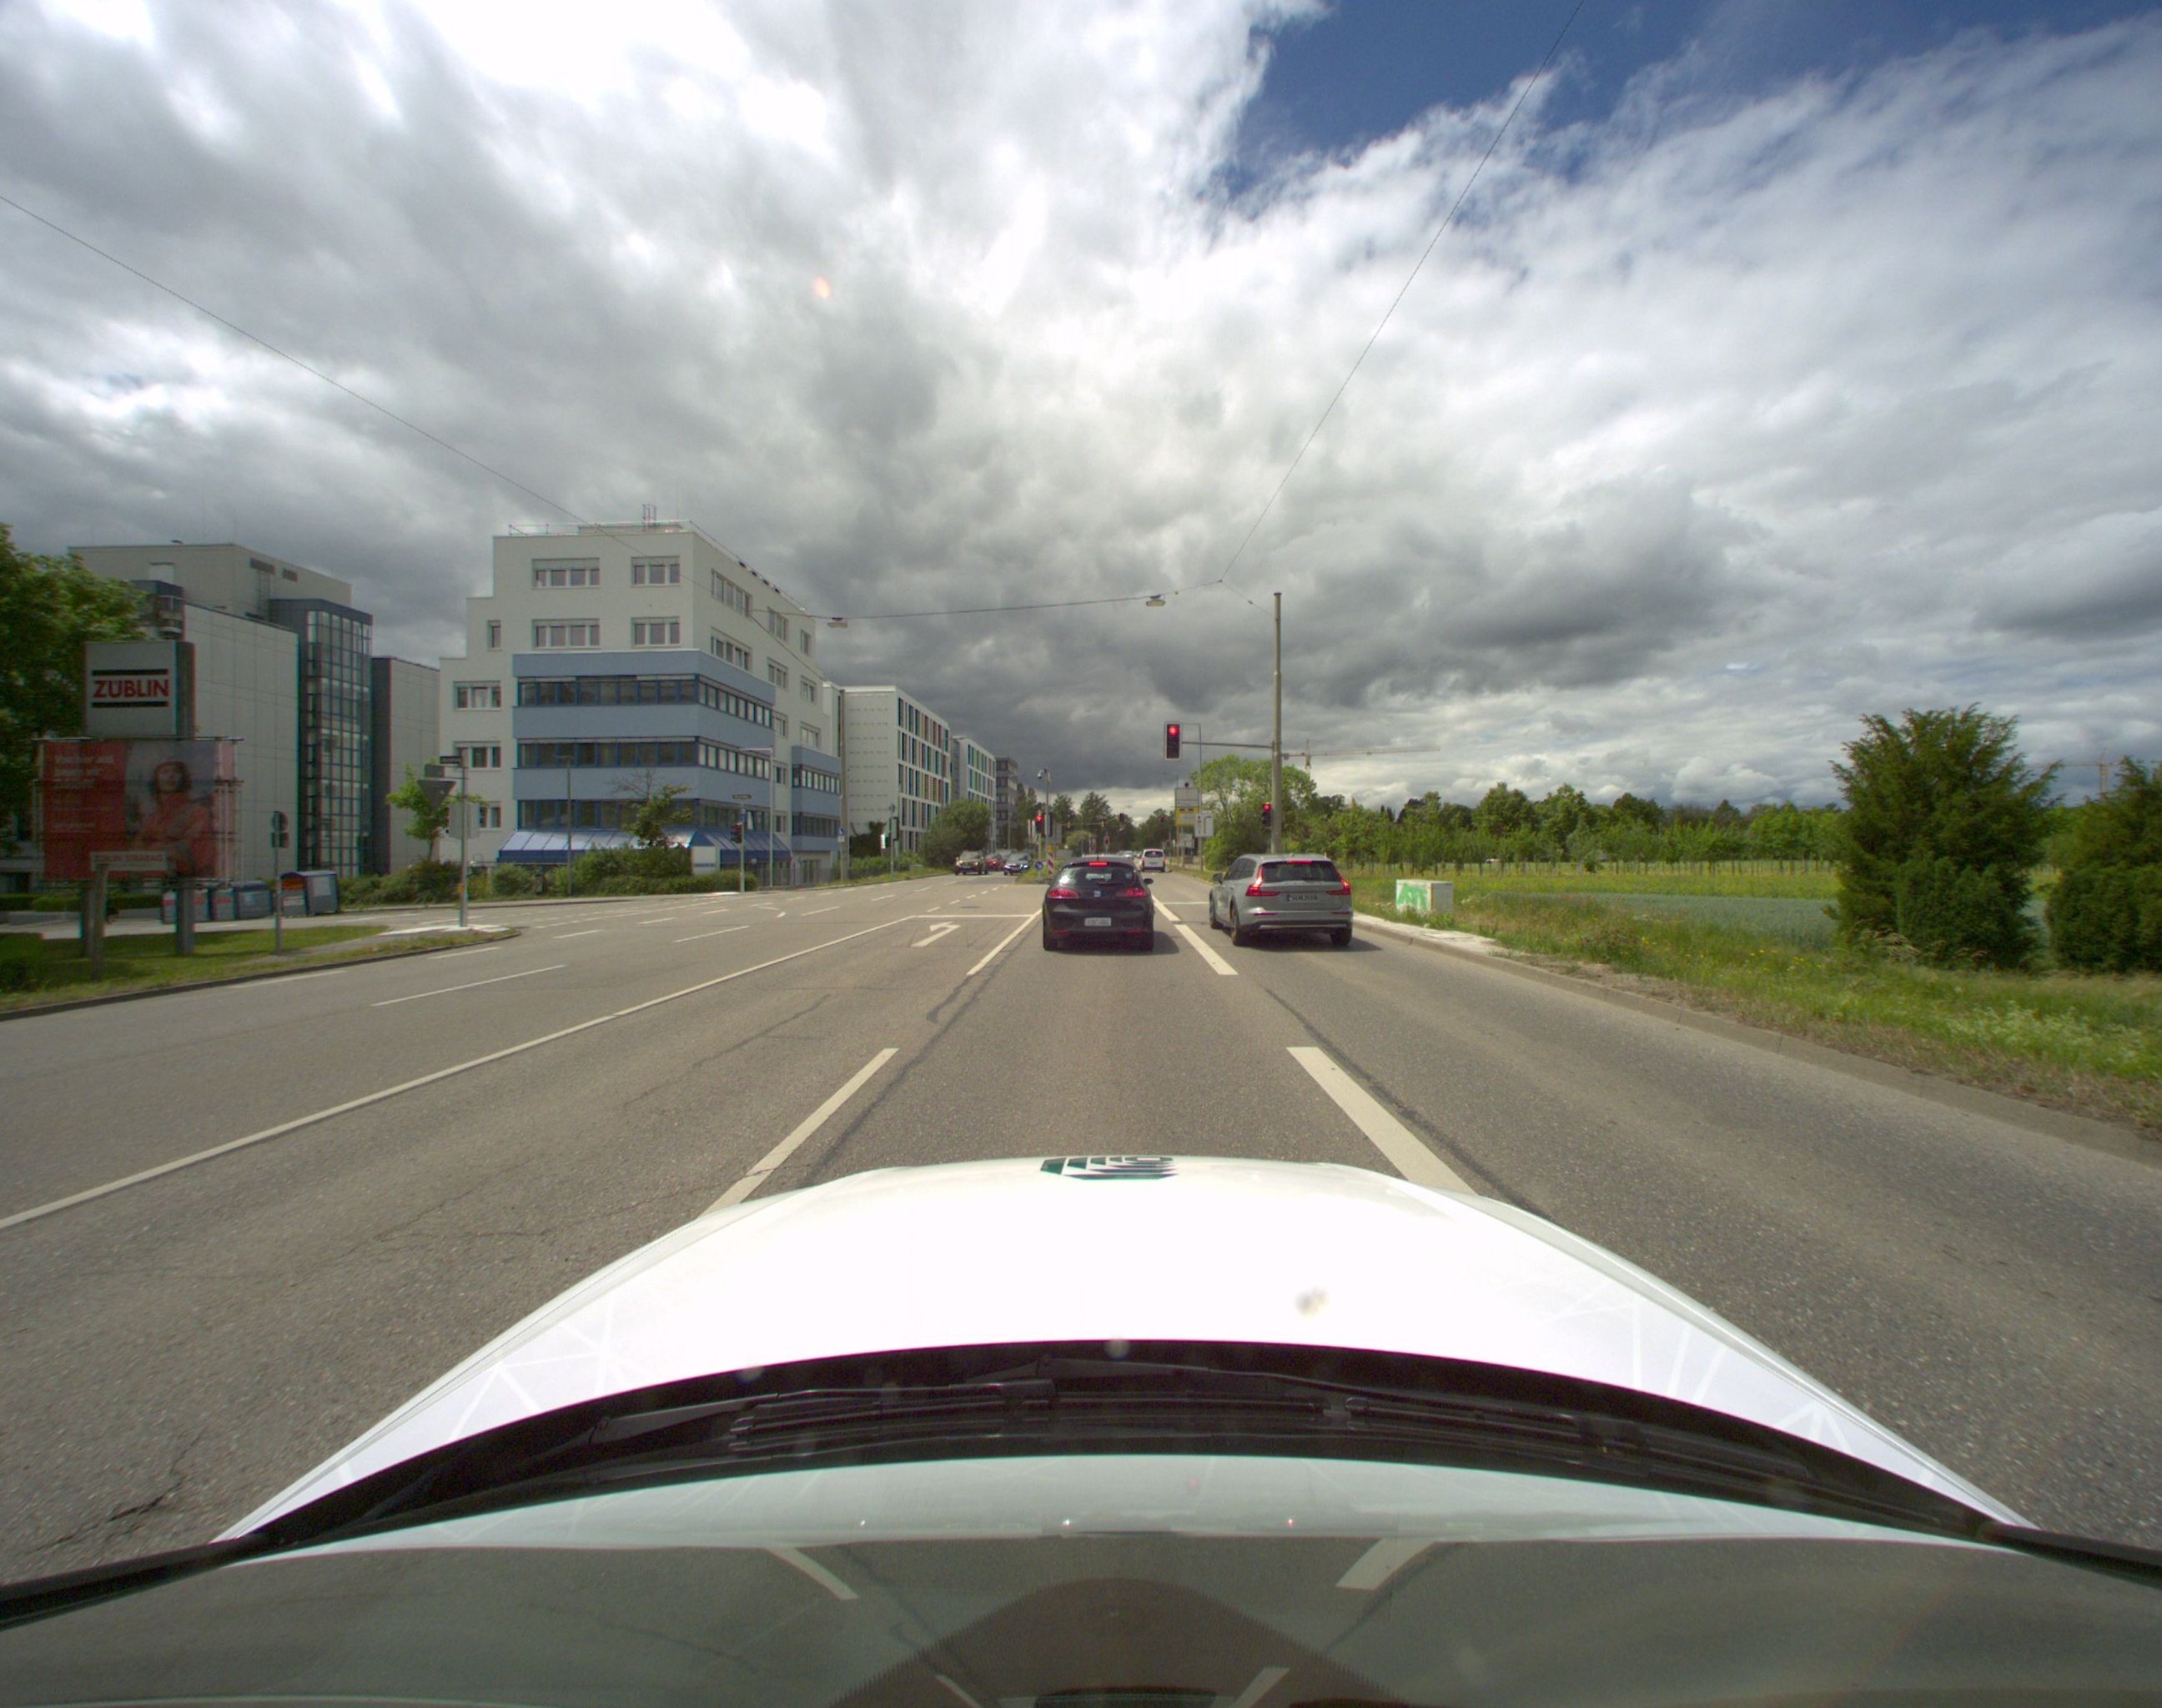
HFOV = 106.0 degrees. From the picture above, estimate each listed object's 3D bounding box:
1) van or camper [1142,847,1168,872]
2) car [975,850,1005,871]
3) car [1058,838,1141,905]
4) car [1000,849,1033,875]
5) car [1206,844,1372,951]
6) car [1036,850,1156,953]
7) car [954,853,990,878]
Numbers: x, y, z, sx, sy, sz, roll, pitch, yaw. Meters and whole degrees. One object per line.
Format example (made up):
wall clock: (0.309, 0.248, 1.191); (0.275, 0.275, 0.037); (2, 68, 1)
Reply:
van or camper: (6.038, 0.455, 66.565); (1.892, 1.926, 4.002); (-1, -1, 2)
car: (-7.269, 0.526, 65.333); (1.769, 1.612, 4.001); (-1, -1, 2)
car: (0.486, 0.417, 21.636); (1.976, 1.590, 4.226); (0, 0, 1)
car: (-4.252, 0.523, 54.355); (1.662, 1.524, 4.010); (-3, 1, 2)
car: (3.417, 0.667, 14.273); (1.950, 1.525, 4.343); (-2, -1, 3)
car: (0.396, 0.706, 13.928); (1.739, 1.484, 4.005); (1, 0, 5)
car: (-7.443, 0.759, 55.772); (1.745, 1.631, 4.001); (-2, 0, 1)
